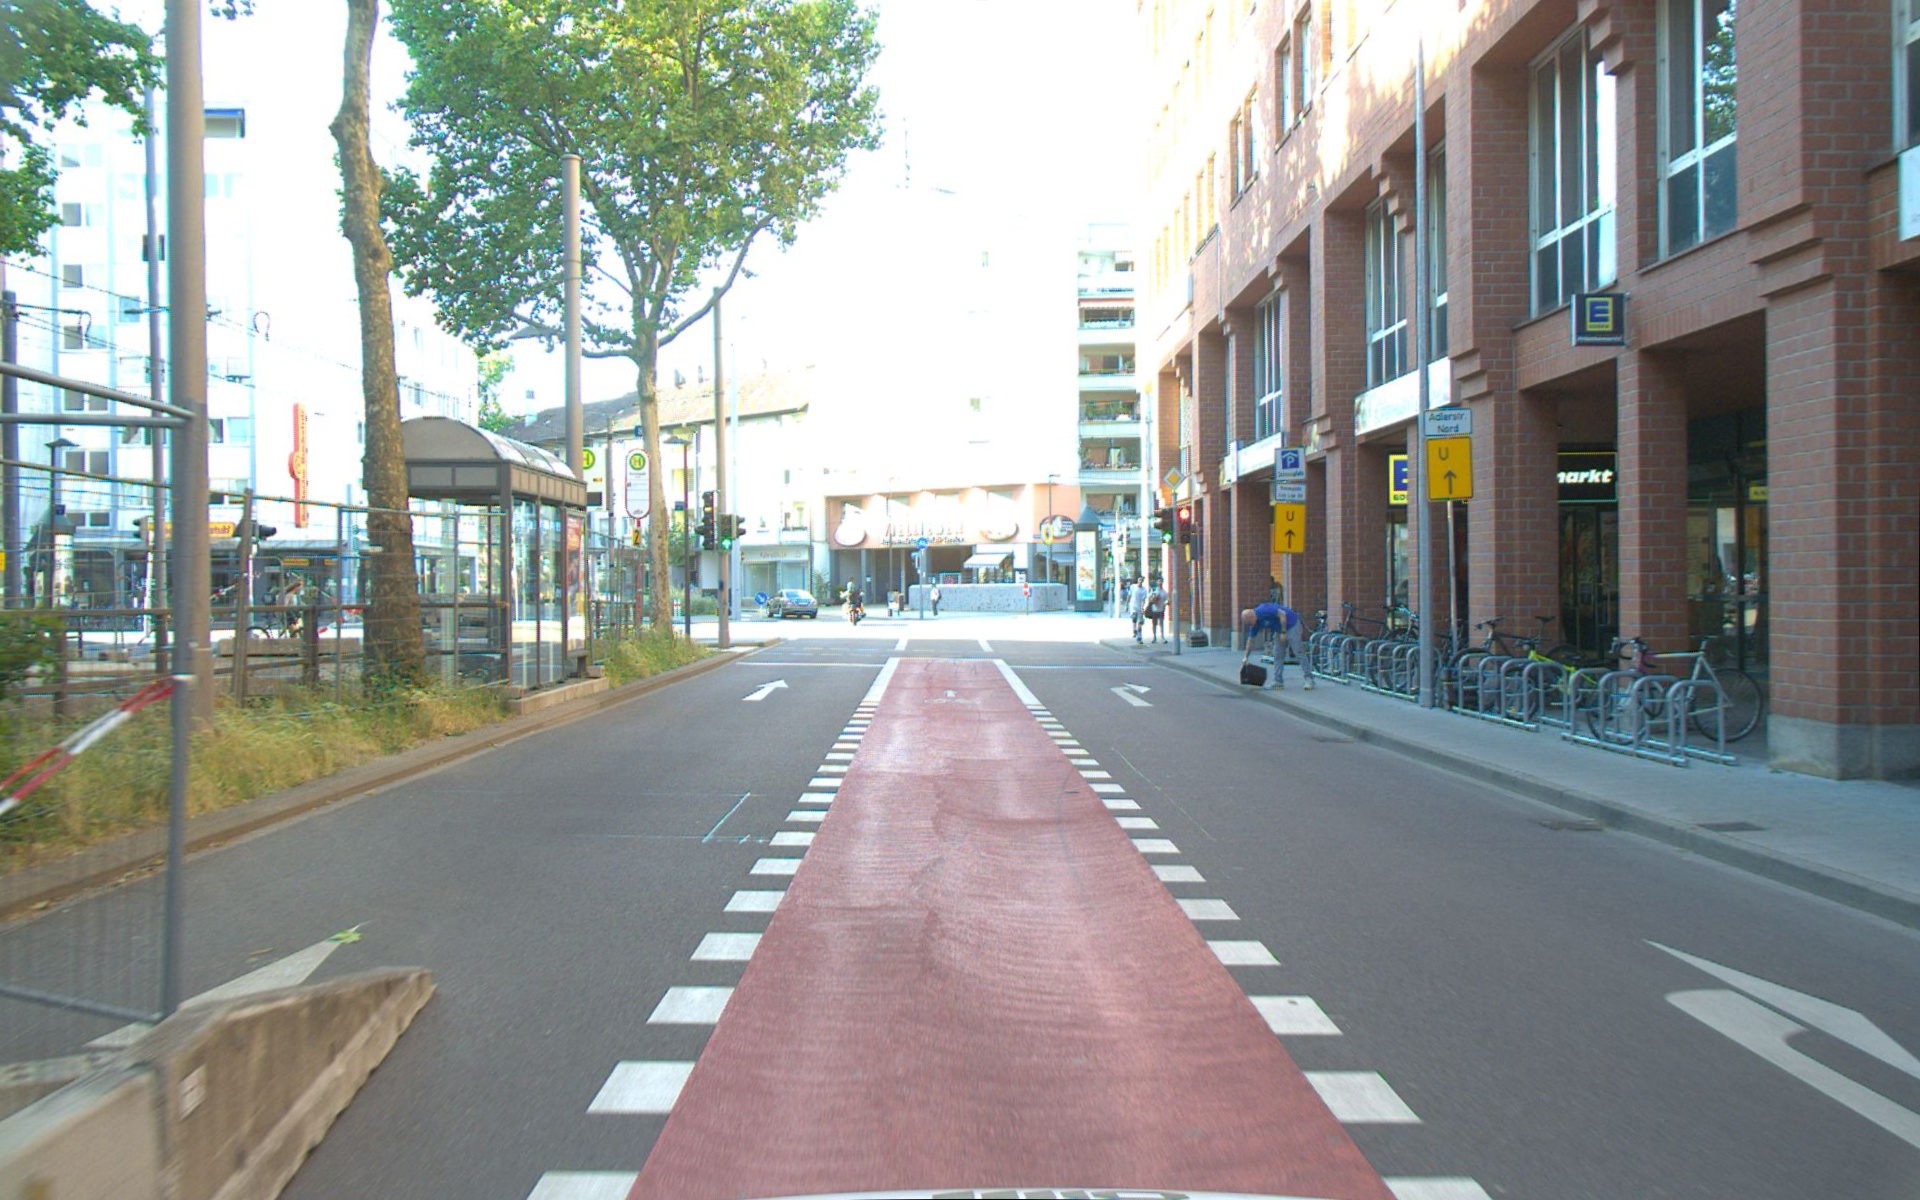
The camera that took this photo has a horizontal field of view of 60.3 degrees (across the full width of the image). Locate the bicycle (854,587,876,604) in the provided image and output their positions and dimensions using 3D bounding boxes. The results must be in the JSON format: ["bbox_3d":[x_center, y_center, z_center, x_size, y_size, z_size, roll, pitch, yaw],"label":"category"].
[{"bbox_3d":[-6.231,-0.301,108.690,1.611,1.056,0.492,0,0,45],"label":"bicycle"}]

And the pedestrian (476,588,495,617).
[{"bbox_3d":[-28.978,0.165,100.979,0.762,1.754,0.803,0,0,41],"label":"pedestrian"}]

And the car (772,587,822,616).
[{"bbox_3d":[-8.285,0.047,83.796,1.892,1.413,3.984,0,0,-15],"label":"car"}]

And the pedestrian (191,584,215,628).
[{"bbox_3d":[-31.377,0.259,68.555,0.615,1.823,0.785,0,0,0],"label":"pedestrian"}]

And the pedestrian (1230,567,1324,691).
[{"bbox_3d":[4.620,0.416,24.186,1.170,1.726,0.885,-2,0,2],"label":"pedestrian"}]

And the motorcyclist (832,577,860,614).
[{"bbox_3d":[-4.263,-0.165,62.011,0.951,1.370,1.137,1,0,-2],"label":"motorcyclist"}]

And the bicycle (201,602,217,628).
[{"bbox_3d":[-32.251,0.654,71.004,0.587,1.071,1.989,0,1,-26],"label":"bicycle"}]

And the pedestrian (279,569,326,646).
[{"bbox_3d":[-15.213,0.174,38.279,0.762,1.765,0.848,0,0,-4],"label":"pedestrian"}]

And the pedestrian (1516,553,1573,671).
[{"bbox_3d":[9.148,0.182,25.890,0.646,1.827,0.608,0,0,-5],"label":"pedestrian"}]

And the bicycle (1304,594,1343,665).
[{"bbox_3d":[6.452,0.509,29.432,0.332,1.204,1.678,0,0,0],"label":"bicycle"}]

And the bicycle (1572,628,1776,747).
[{"bbox_3d":[6.452,0.786,14.987,1.578,0.971,0.555,-3,0,1],"label":"bicycle"}]

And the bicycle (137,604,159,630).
[{"bbox_3d":[-34.528,0.726,70.360,0.585,1.071,1.996,0,1,-18],"label":"bicycle"}]

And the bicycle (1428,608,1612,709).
[{"bbox_3d":[6.462,0.671,19.130,1.892,1.075,0.573,-2,0,2],"label":"bicycle"}]

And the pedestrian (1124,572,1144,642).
[{"bbox_3d":[4.554,0.184,43.235,0.466,1.824,0.541,0,0,-1],"label":"pedestrian"}]

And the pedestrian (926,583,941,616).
[{"bbox_3d":[-1.333,-0.024,82.442,0.537,1.611,0.548,0,0,-44],"label":"pedestrian"}]

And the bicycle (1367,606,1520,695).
[{"bbox_3d":[6.374,0.659,21.856,1.853,1.138,0.550,-1,0,-1],"label":"bicycle"}]

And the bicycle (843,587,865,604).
[{"bbox_3d":[-6.971,-0.303,108.341,1.611,1.056,0.492,0,0,45],"label":"bicycle"}]

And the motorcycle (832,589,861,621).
[{"bbox_3d":[-4.256,0.192,62.052,0.953,1.151,2.804,1,0,-2],"label":"motorcycle"}]

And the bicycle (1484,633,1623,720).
[{"bbox_3d":[6.357,0.814,17.737,1.306,0.856,0.425,-3,0,1],"label":"bicycle"}]

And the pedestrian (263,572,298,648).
[{"bbox_3d":[-15.350,0.222,37.343,0.554,1.709,0.531,0,0,0],"label":"pedestrian"}]

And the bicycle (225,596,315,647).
[{"bbox_3d":[-15.360,0.478,36.836,1.792,1.097,0.481,0,0,0],"label":"bicycle"}]

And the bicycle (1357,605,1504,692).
[{"bbox_3d":[6.408,0.653,22.557,1.853,1.138,0.475,-1,0,-1],"label":"bicycle"}]

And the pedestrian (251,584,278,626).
[{"bbox_3d":[-29.831,0.211,70.946,0.788,1.754,0.776,0,0,0],"label":"pedestrian"}]

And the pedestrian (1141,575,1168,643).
[{"bbox_3d":[5.072,0.226,43.072,0.620,1.755,0.630,0,0,-1],"label":"pedestrian"}]

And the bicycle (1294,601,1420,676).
[{"bbox_3d":[6.220,0.604,25.954,1.853,1.138,0.474,-1,0,-1],"label":"bicycle"}]
